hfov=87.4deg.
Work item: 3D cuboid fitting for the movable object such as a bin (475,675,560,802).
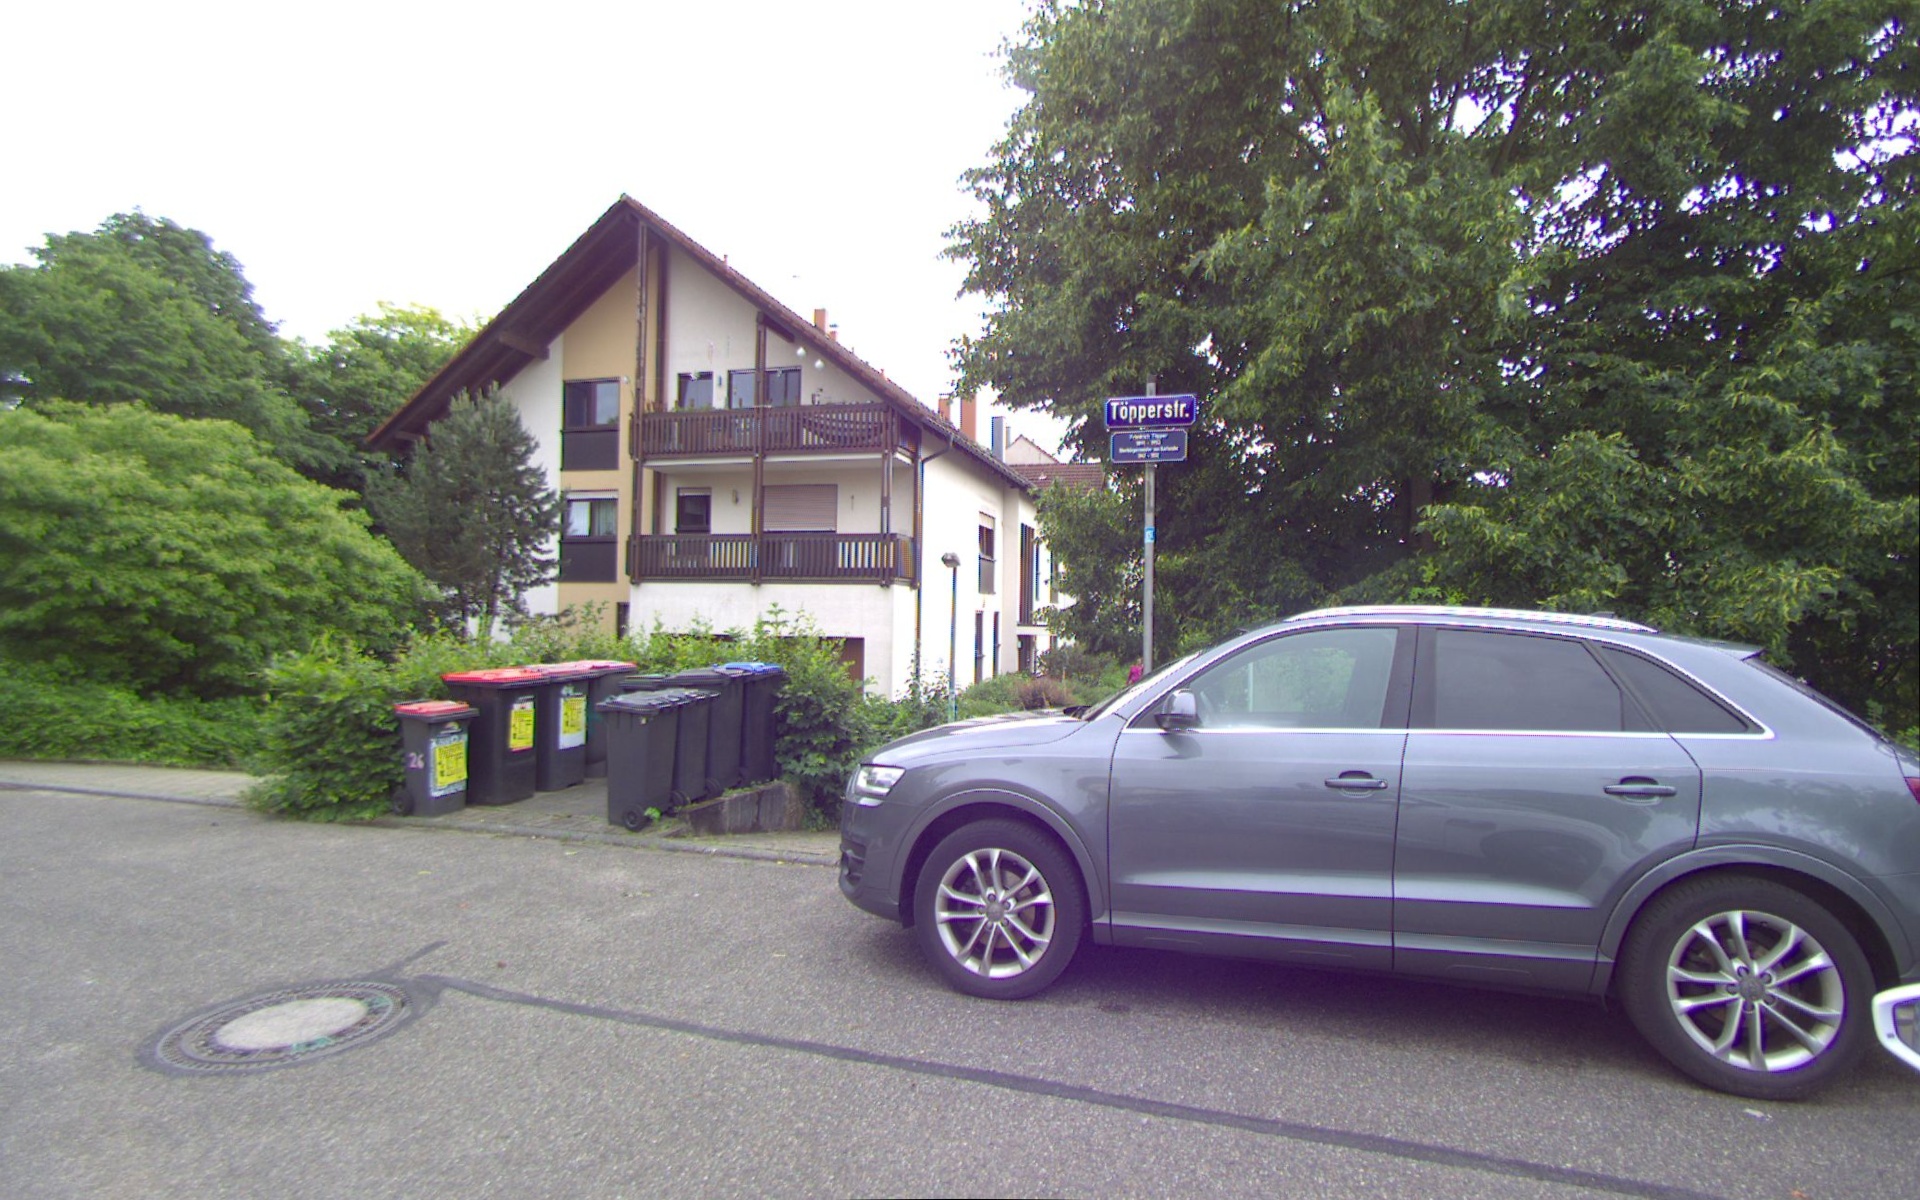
[{"bbox_3d":[-3.740,1.155,8.499,0.528,1.007,0.338,2,-1,14],"label":"movable object such as a bin"}]

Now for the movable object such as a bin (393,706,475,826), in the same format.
[{"bbox_3d":[-4.060,1.271,7.759,0.379,0.848,0.379,2,-1,14],"label":"movable object such as a bin"}]

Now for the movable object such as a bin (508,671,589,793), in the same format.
[{"bbox_3d":[-3.617,1.145,8.837,0.528,1.007,0.338,2,-1,14],"label":"movable object such as a bin"}]

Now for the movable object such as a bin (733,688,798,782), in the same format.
[{"bbox_3d":[-1.808,1.247,9.372,0.451,0.808,0.379,2,-1,16],"label":"movable object such as a bin"}]

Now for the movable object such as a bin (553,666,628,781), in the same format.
[{"bbox_3d":[-3.439,1.138,9.369,0.528,1.007,0.338,2,-1,14],"label":"movable object such as a bin"}]

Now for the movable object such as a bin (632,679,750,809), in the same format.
[{"bbox_3d":[-2.225,1.175,8.349,0.721,0.966,0.584,2,-1,16],"label":"movable object such as a bin"}]

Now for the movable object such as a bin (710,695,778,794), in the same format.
[{"bbox_3d":[-1.924,1.276,8.961,0.451,0.808,0.379,2,-1,16],"label":"movable object such as a bin"}]

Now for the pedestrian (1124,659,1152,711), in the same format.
[{"bbox_3d":[5.439,2.589,30.693,0.801,1.537,0.439,0,-2,14],"label":"pedestrian"}]

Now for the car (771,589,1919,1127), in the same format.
[{"bbox_3d":[1.509,0.809,4.278,4.165,1.551,1.749,1,-3,16],"label":"car"}]

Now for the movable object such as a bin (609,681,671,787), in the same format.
[{"bbox_3d":[-2.946,1.220,9.260,0.379,0.913,0.379,2,-1,14],"label":"movable object such as a bin"}]

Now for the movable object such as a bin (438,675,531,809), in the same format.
[{"bbox_3d":[-3.851,1.137,8.148,0.528,1.007,0.379,2,-1,14],"label":"movable object such as a bin"}]

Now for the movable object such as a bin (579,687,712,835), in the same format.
[{"bbox_3d":[-2.334,1.174,7.507,0.627,0.966,0.723,2,-1,15],"label":"movable object such as a bin"}]
